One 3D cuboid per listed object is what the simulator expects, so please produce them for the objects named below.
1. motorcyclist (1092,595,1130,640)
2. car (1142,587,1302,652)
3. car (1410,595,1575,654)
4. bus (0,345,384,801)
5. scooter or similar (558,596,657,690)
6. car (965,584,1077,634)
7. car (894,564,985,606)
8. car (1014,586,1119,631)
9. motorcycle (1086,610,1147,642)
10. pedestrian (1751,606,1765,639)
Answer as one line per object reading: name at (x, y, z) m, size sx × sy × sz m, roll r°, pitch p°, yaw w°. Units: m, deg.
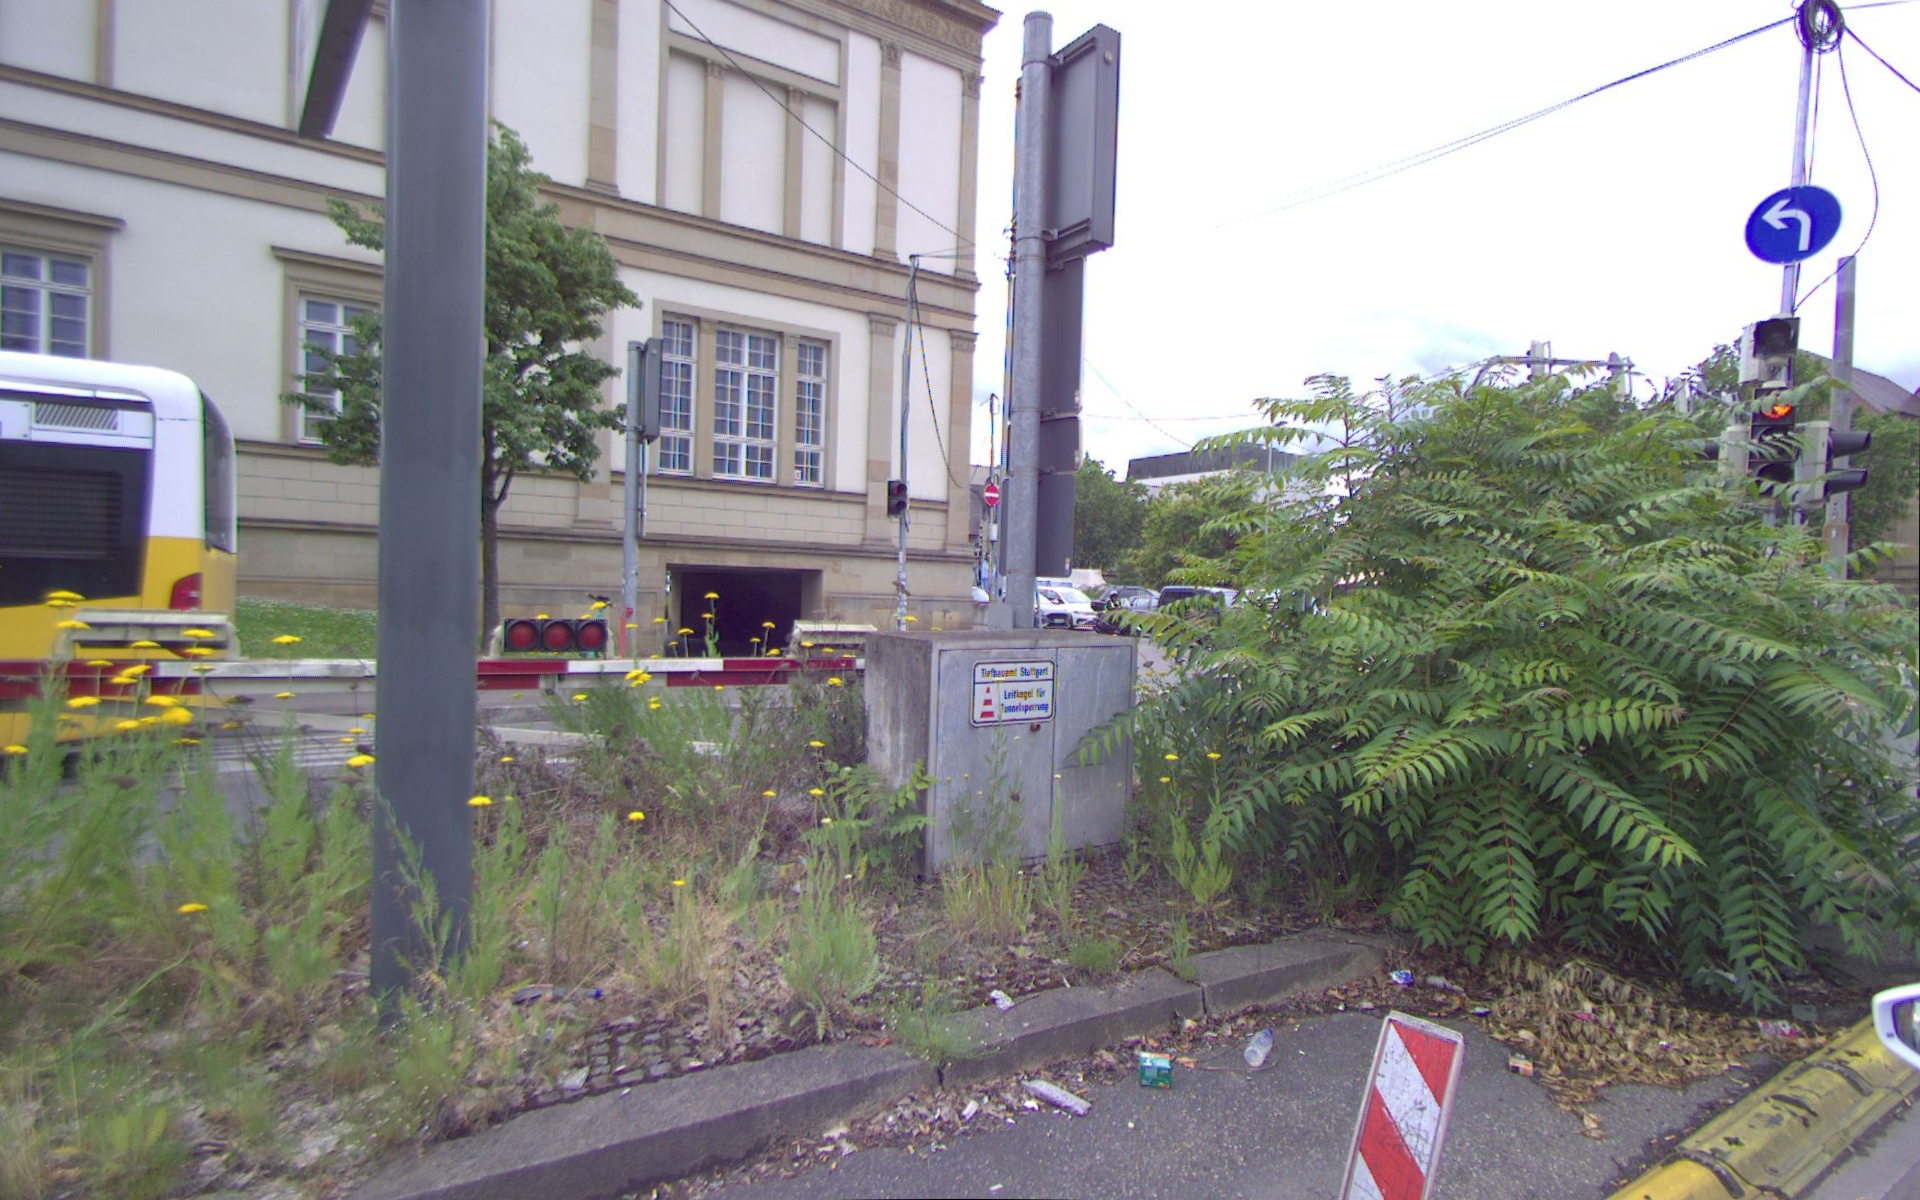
motorcyclist at (4.940, 0.566, 32.843) m, size 0.738 × 1.442 × 0.959 m, roll 1°, pitch 1°, yaw -35°
car at (7.541, 0.523, 29.287) m, size 1.979 × 1.698 × 4.285 m, roll 1°, pitch 1°, yaw -34°
car at (17.125, 0.740, 32.458) m, size 1.986 × 1.698 × 4.271 m, roll 1°, pitch 1°, yaw -43°
bus at (-9.253, -0.254, 6.996) m, size 9.019 × 3.156 × 2.830 m, roll 1°, pitch 1°, yaw -32°
scooter or similar at (-4.947, 0.595, 14.142) m, size 1.132 × 1.190 × 0.540 m, roll 6°, pitch 0°, yaw -10°
car at (2.195, 0.320, 37.481) m, size 1.979 × 1.698 × 4.285 m, roll 1°, pitch 1°, yaw -34°
car at (-0.946, -0.668, 43.693) m, size 1.979 × 1.698 × 4.285 m, roll 1°, pitch 1°, yaw -34°
car at (4.272, 0.314, 40.933) m, size 1.979 × 1.698 × 4.285 m, roll 1°, pitch 1°, yaw -34°
motorcycle at (5.067, 0.835, 32.661) m, size 0.749 × 0.937 × 2.042 m, roll 1°, pitch 1°, yaw -35°
pedestrian at (49.789, 1.372, 62.681) m, size 0.516 × 2.040 × 0.428 m, roll 2°, pitch 1°, yaw 17°
